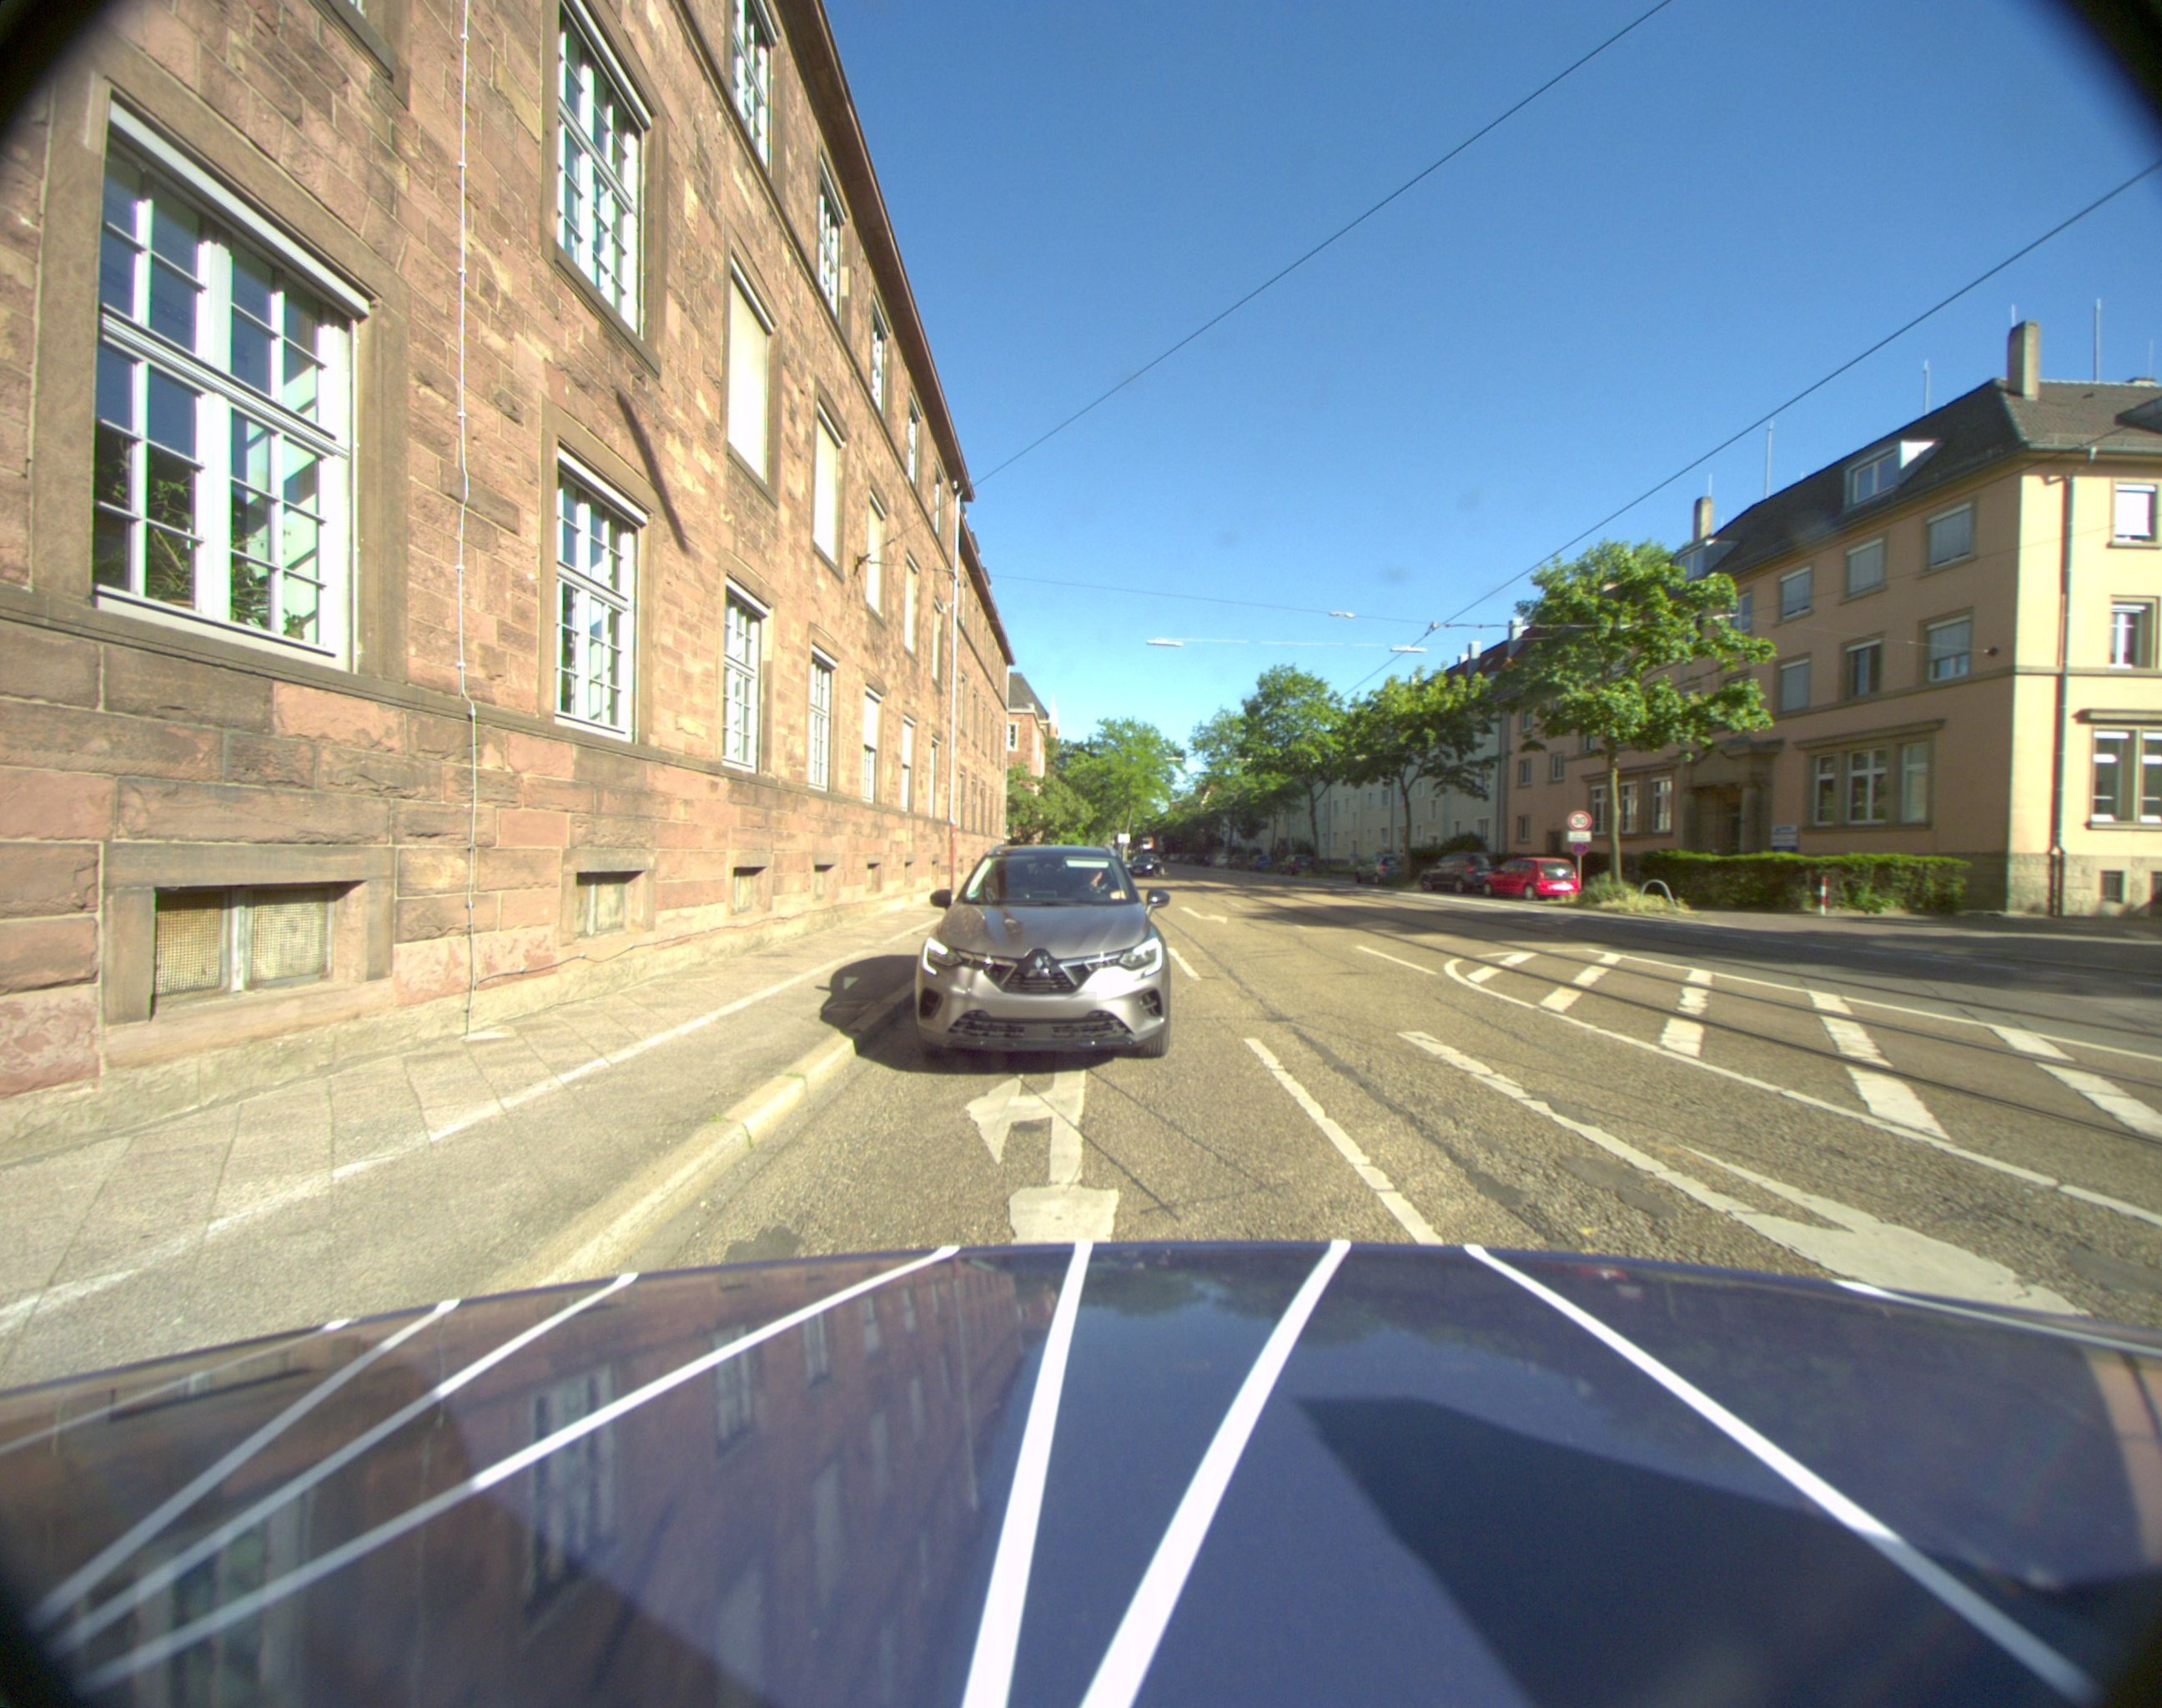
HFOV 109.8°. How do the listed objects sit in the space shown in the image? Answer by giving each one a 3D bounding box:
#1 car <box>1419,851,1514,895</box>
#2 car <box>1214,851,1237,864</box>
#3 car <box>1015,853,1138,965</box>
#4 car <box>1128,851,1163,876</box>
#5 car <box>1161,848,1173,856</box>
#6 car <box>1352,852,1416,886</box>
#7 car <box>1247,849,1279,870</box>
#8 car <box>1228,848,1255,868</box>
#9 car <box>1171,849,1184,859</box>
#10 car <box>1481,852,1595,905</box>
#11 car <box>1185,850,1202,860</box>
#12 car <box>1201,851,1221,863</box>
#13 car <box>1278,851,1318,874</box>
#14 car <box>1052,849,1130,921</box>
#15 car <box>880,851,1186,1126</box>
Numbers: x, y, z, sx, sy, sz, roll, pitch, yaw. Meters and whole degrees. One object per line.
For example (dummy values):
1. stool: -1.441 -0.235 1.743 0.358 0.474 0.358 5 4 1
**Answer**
1. car: 15.815 0.743 31.399 1.816 1.649 3.818 1 1 -3
2. car: 16.486 0.398 86.773 1.816 1.411 3.629 1 1 -1
3. car: -0.104 0.802 12.978 1.796 1.595 3.798 0 1 -1
4. car: 4.143 0.572 49.381 1.912 1.510 3.999 1 1 -1
5. car: 16.749 -0.351 147.705 1.816 1.514 3.629 1 1 -1
6. car: 15.948 0.740 40.208 1.816 1.649 3.876 1 1 1
7. car: 16.333 0.483 68.339 1.816 1.814 3.794 1 1 -1
8. car: 16.309 0.401 77.415 1.816 1.929 3.629 1 1 -1
9. car: 17.299 -0.079 136.069 1.816 1.768 3.629 1 1 -1
10. car: 16.001 0.811 26.790 1.816 1.696 3.373 1 1 -3
11. car: 16.627 0.168 112.579 1.816 1.411 3.629 1 1 -1
12. car: 16.347 0.349 95.700 1.816 1.411 3.629 1 1 -1
13. car: 16.090 0.619 56.449 1.816 1.589 3.629 1 1 -1
14. car: 0.183 0.688 19.422 1.796 1.638 4.082 0 1 -1
15. car: -0.318 0.784 6.375 1.796 1.595 3.798 0 1 -1
